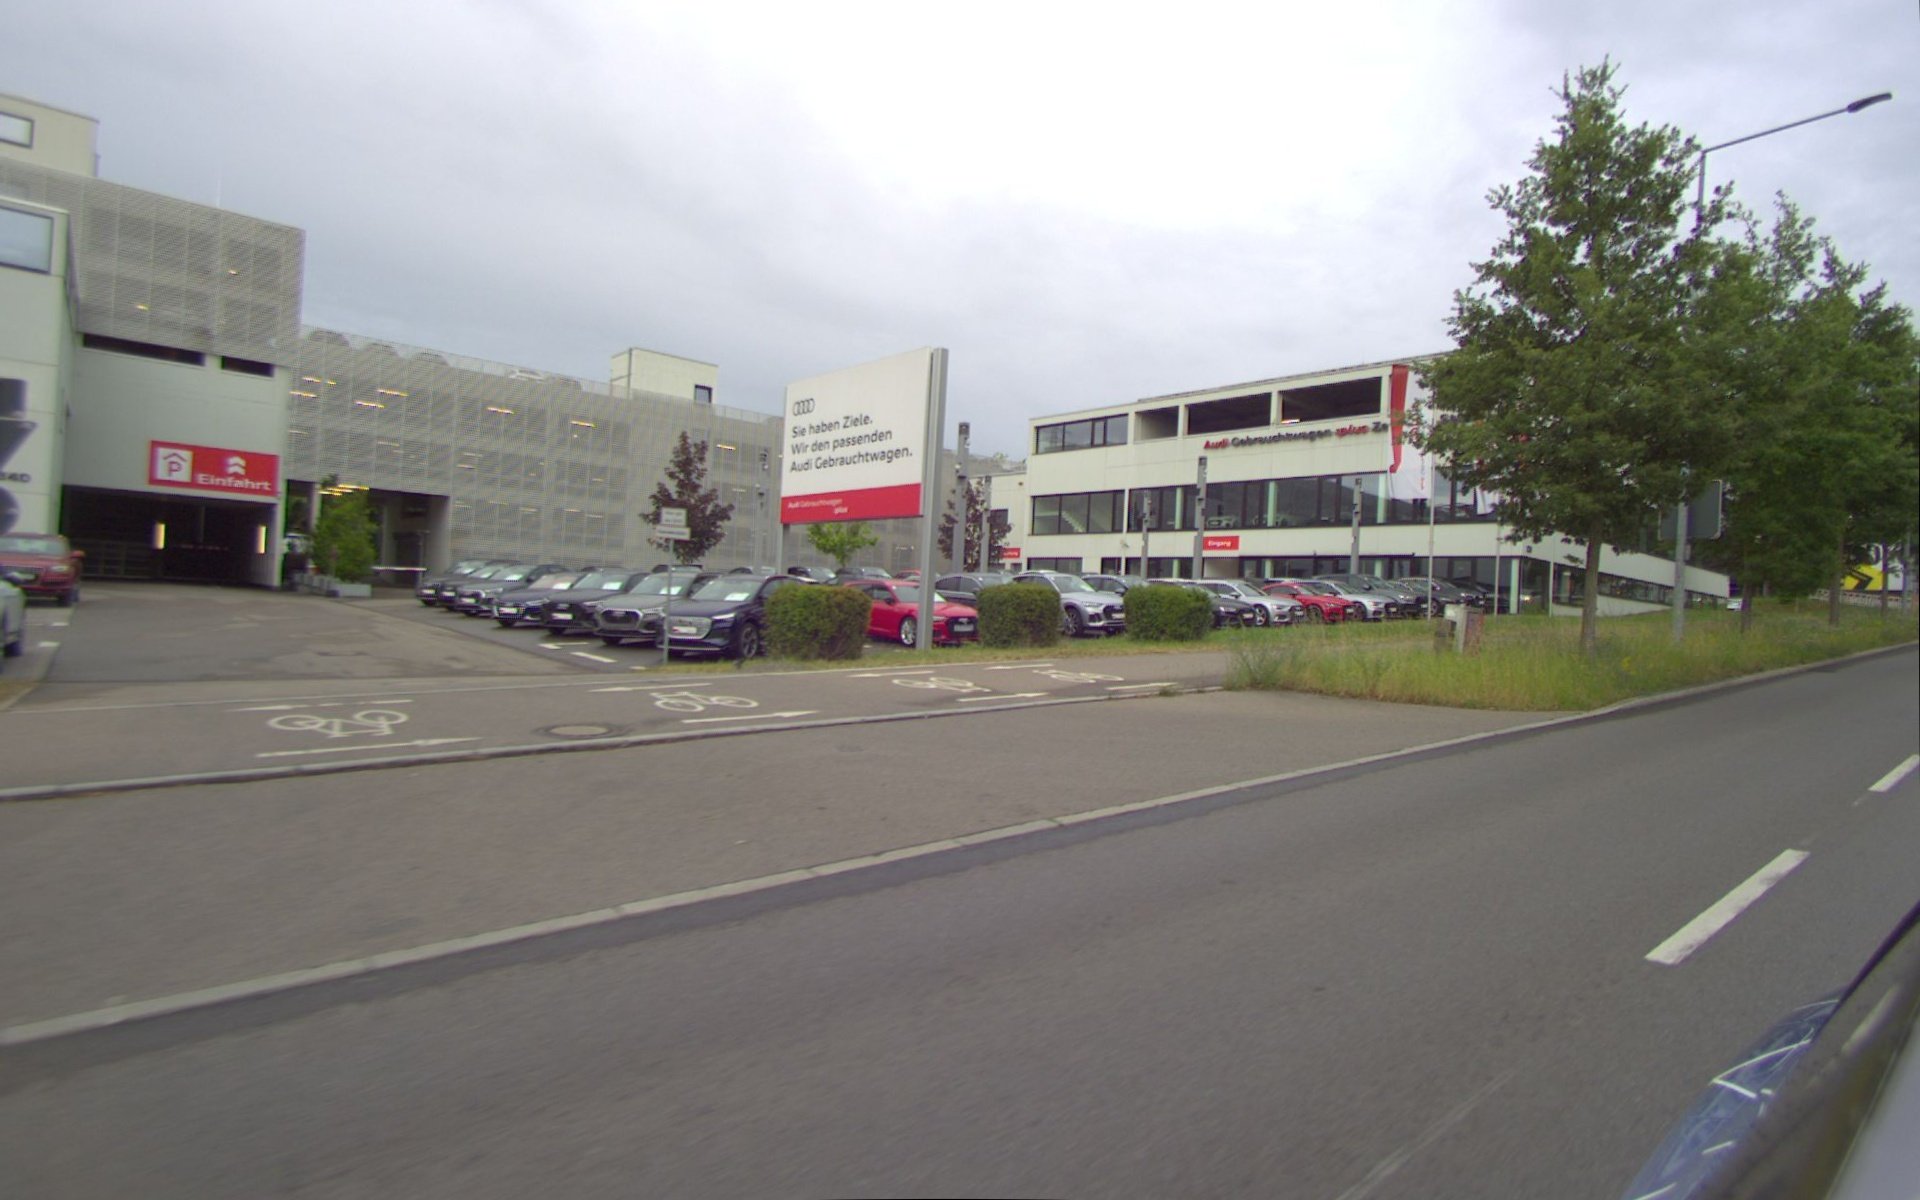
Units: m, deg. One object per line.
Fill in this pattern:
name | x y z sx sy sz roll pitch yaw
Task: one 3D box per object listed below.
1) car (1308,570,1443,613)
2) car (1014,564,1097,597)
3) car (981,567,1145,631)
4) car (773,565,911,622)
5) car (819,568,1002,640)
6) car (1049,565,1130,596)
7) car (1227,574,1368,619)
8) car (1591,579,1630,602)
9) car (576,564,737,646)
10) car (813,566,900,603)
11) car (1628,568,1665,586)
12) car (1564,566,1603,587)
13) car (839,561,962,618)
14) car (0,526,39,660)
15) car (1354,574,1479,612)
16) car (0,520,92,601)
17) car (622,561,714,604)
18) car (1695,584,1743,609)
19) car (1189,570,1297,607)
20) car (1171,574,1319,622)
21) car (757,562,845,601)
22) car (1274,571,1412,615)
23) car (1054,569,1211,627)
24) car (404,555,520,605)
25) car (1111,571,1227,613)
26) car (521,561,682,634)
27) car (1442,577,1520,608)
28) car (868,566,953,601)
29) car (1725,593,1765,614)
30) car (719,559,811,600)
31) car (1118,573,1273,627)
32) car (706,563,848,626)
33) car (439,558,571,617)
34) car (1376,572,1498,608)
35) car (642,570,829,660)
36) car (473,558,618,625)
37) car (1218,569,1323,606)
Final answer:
car | 16.091 -0.365 39.365 2.004 1.519 4.407 -1 3 -40
car | 4.960 -1.043 52.994 1.796 1.613 4.283 -1 2 -42
car | 2.779 -0.094 28.203 1.897 1.570 4.470 -1 3 -41
car | -3.690 -0.257 31.101 1.900 1.570 4.465 -1 3 -44
car | -1.272 0.025 24.143 1.900 1.570 4.464 -1 2 -44
car | 7.017 -1.081 55.305 1.796 1.613 4.283 -1 2 -42
car | 11.893 -0.164 35.860 1.897 1.364 4.406 -1 3 -41
car | 51.835 -0.803 80.612 3.460 1.696 1.701 -1 4 -41
car | -6.678 0.053 22.662 1.749 1.613 3.542 3 2 17
car | -4.762 -0.744 46.247 1.796 1.613 4.283 -1 2 -42
car | 58.200 -1.960 85.761 3.579 1.503 1.700 -1 0 -41
car | 50.651 -1.890 82.195 3.579 1.697 1.700 -1 0 -41
car | -2.030 -0.394 33.627 1.967 1.669 3.992 -1 4 -44
car | -13.448 -0.080 13.058 4.103 1.614 1.919 0 1 42
car | 18.638 -0.333 41.463 1.806 1.395 4.325 -1 3 -42
car | -23.501 -0.938 25.607 1.963 1.878 4.540 0 0 -36
car | -11.591 -0.712 40.026 1.796 1.613 4.283 -1 2 -42
car | 55.594 -0.311 74.100 4.510 1.696 1.906 -1 3 -41
car | 12.334 -0.535 44.349 1.796 1.570 4.283 -1 2 -42
car | 9.421 -0.108 33.759 1.897 1.474 4.470 -1 2 -41
car | -6.998 -0.844 44.291 1.796 1.613 4.283 -1 2 -42
car | 14.096 -0.301 37.442 1.857 1.445 4.407 -1 3 -40
car | 5.065 -0.134 30.236 1.897 1.547 4.470 -1 2 -41
car | -17.671 -0.728 36.085 1.749 1.613 3.542 3 2 17
car | 8.234 -0.357 40.095 1.796 1.570 4.283 -1 2 -42
car | -8.831 -0.115 25.291 1.749 1.613 3.972 3 2 17
car | 23.946 -0.391 46.452 3.855 1.355 1.901 -1 2 -41
car | -2.423 -0.812 48.454 1.796 1.613 4.283 -1 2 -42
car | 61.149 0.268 78.810 4.384 1.503 1.700 -1 0 -41
car | -8.075 -0.856 41.612 1.796 1.613 4.283 -1 2 -42
car | 7.292 -0.057 31.733 1.897 1.473 4.470 -1 3 -41
car | -5.423 -0.226 29.636 1.900 1.569 4.466 -1 4 -44
car | -13.722 -0.402 30.733 1.749 1.613 3.542 3 2 17
car | 20.577 -0.470 43.773 1.897 1.500 4.406 -1 2 -41
car | -4.437 0.213 20.757 1.814 1.613 4.335 1 1 18
car | -11.036 -0.270 27.198 1.749 1.613 3.542 3 2 17
car | 14.059 -0.607 45.993 1.796 1.570 4.283 -1 2 -42
